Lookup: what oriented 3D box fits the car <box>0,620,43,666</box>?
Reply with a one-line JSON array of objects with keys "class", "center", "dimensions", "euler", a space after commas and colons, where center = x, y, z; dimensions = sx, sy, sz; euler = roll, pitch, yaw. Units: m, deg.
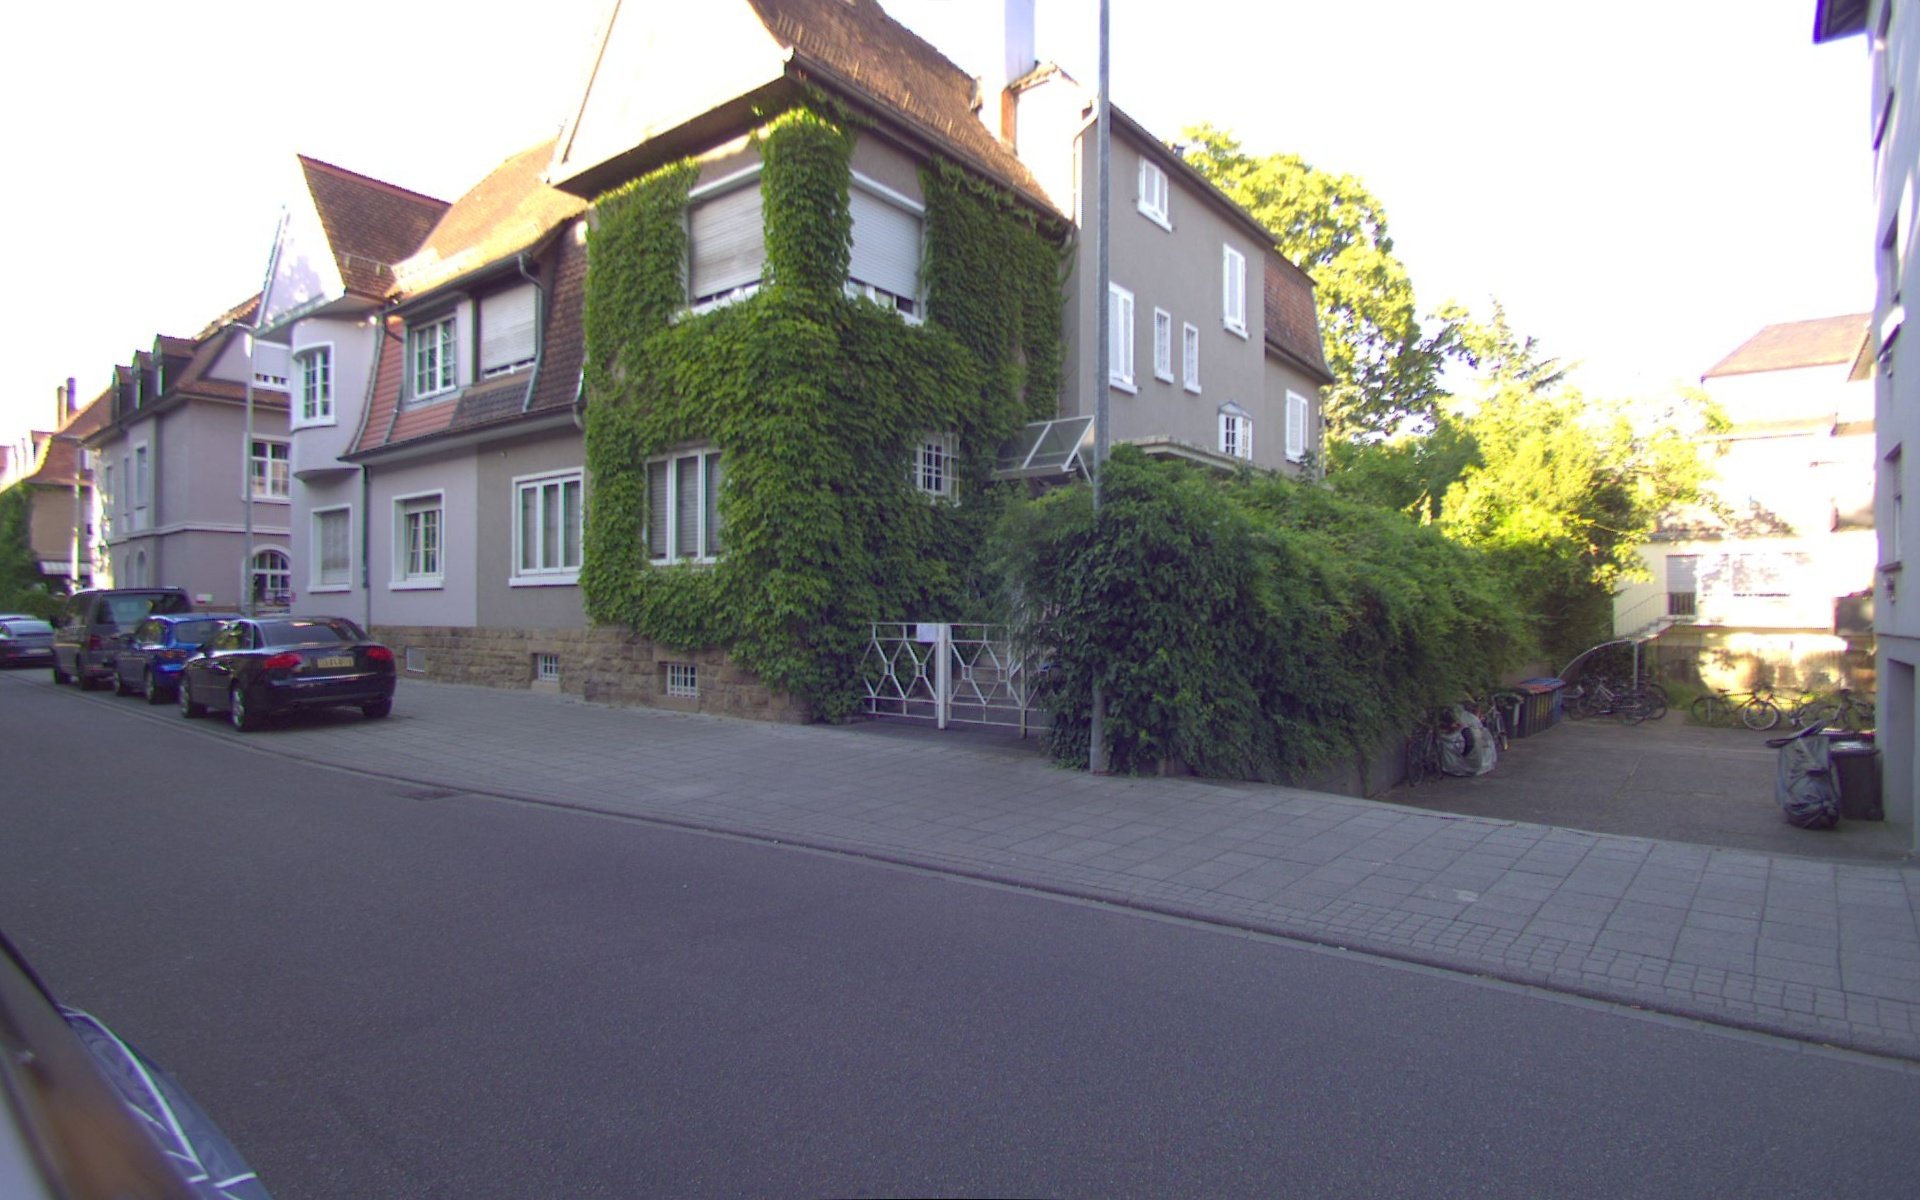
[{"class": "car", "center": [-30.401, 1.340, 32.022], "dimensions": [3.942, 1.381, 1.522], "euler": [-1, 1, 40]}]

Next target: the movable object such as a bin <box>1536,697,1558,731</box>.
[{"class": "movable object such as a bin", "center": [13.545, 2.629, 23.349], "dimensions": [0.367, 0.764, 0.359], "euler": [-1, -4, 41]}]

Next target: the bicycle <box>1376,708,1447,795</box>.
[{"class": "bicycle", "center": [6.785, 2.223, 15.149], "dimensions": [0.514, 1.027, 1.914], "euler": [1, 0, 38]}]

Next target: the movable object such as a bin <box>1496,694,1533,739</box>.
[{"class": "movable object such as a bin", "center": [11.552, 2.419, 21.090], "dimensions": [0.576, 0.886, 0.488], "euler": [0, -3, 41]}]

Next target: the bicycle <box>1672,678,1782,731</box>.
[{"class": "bicycle", "center": [18.614, 2.516, 24.591], "dimensions": [2.068, 1.028, 0.634], "euler": [1, 3, 41]}]

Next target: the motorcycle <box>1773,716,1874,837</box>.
[{"class": "motorcycle", "center": [10.725, 2.153, 12.623], "dimensions": [0.757, 1.261, 1.575], "euler": [-1, -3, 34]}]

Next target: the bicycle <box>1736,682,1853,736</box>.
[{"class": "bicycle", "center": [19.560, 2.534, 23.760], "dimensions": [2.068, 1.028, 0.634], "euler": [1, 3, 41]}]

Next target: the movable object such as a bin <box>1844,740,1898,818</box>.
[{"class": "movable object such as a bin", "center": [11.770, 2.299, 13.093], "dimensions": [0.432, 0.894, 0.717], "euler": [-1, -3, 37]}]

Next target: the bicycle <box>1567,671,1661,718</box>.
[{"class": "bicycle", "center": [17.514, 2.522, 27.137], "dimensions": [2.068, 1.028, 0.608], "euler": [1, 3, 41]}]

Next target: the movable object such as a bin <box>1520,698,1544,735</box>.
[{"class": "movable object such as a bin", "center": [12.565, 2.553, 22.219], "dimensions": [0.398, 0.779, 0.359], "euler": [-1, -4, 41]}]

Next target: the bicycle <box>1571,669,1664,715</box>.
[{"class": "bicycle", "center": [18.075, 2.513, 27.842], "dimensions": [2.068, 1.028, 0.608], "euler": [1, 3, 41]}]

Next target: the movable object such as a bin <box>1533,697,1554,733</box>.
[{"class": "movable object such as a bin", "center": [13.293, 2.615, 23.052], "dimensions": [0.367, 0.764, 0.359], "euler": [-1, -4, 41]}]

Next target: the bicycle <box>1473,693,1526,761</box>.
[{"class": "bicycle", "center": [9.966, 2.316, 18.667], "dimensions": [0.514, 1.027, 1.914], "euler": [1, 0, 38]}]

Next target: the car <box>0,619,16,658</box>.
[{"class": "car", "center": [-36.584, 1.449, 37.613], "dimensions": [3.942, 1.381, 1.698], "euler": [-1, 1, 40]}]

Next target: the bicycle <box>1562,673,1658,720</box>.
[{"class": "bicycle", "center": [17.019, 2.508, 26.530], "dimensions": [2.068, 1.028, 0.565], "euler": [1, 3, 41]}]

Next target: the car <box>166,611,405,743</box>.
[{"class": "car", "center": [-9.302, 0.925, 13.841], "dimensions": [4.023, 1.439, 1.729], "euler": [0, 2, 42]}]

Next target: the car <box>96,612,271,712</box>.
[{"class": "car", "center": [-13.755, 0.996, 17.853], "dimensions": [4.021, 1.475, 1.591], "euler": [0, 2, 40]}]

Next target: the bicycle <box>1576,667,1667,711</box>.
[{"class": "bicycle", "center": [18.545, 2.483, 28.409], "dimensions": [2.068, 1.028, 0.561], "euler": [1, 3, 41]}]

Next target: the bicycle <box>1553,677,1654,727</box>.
[{"class": "bicycle", "center": [16.172, 2.548, 25.457], "dimensions": [2.068, 1.028, 0.634], "euler": [1, 3, 41]}]

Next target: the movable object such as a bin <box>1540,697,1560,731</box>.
[{"class": "movable object such as a bin", "center": [13.783, 2.657, 23.642], "dimensions": [0.346, 0.764, 0.359], "euler": [-1, -4, 41]}]

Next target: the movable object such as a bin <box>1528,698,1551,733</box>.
[{"class": "movable object such as a bin", "center": [13.031, 2.593, 22.759], "dimensions": [0.375, 0.764, 0.359], "euler": [-1, -4, 41]}]

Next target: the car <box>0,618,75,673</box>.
[{"class": "car", "center": [-26.342, 1.235, 28.344], "dimensions": [4.331, 1.381, 1.698], "euler": [-1, 1, 40]}]

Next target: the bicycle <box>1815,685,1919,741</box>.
[{"class": "bicycle", "center": [20.635, 2.547, 22.805], "dimensions": [2.068, 1.028, 0.634], "euler": [1, 3, 41]}]

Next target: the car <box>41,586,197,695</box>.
[{"class": "car", "center": [-17.414, 0.750, 20.890], "dimensions": [4.308, 1.987, 1.698], "euler": [0, 2, 40]}]
